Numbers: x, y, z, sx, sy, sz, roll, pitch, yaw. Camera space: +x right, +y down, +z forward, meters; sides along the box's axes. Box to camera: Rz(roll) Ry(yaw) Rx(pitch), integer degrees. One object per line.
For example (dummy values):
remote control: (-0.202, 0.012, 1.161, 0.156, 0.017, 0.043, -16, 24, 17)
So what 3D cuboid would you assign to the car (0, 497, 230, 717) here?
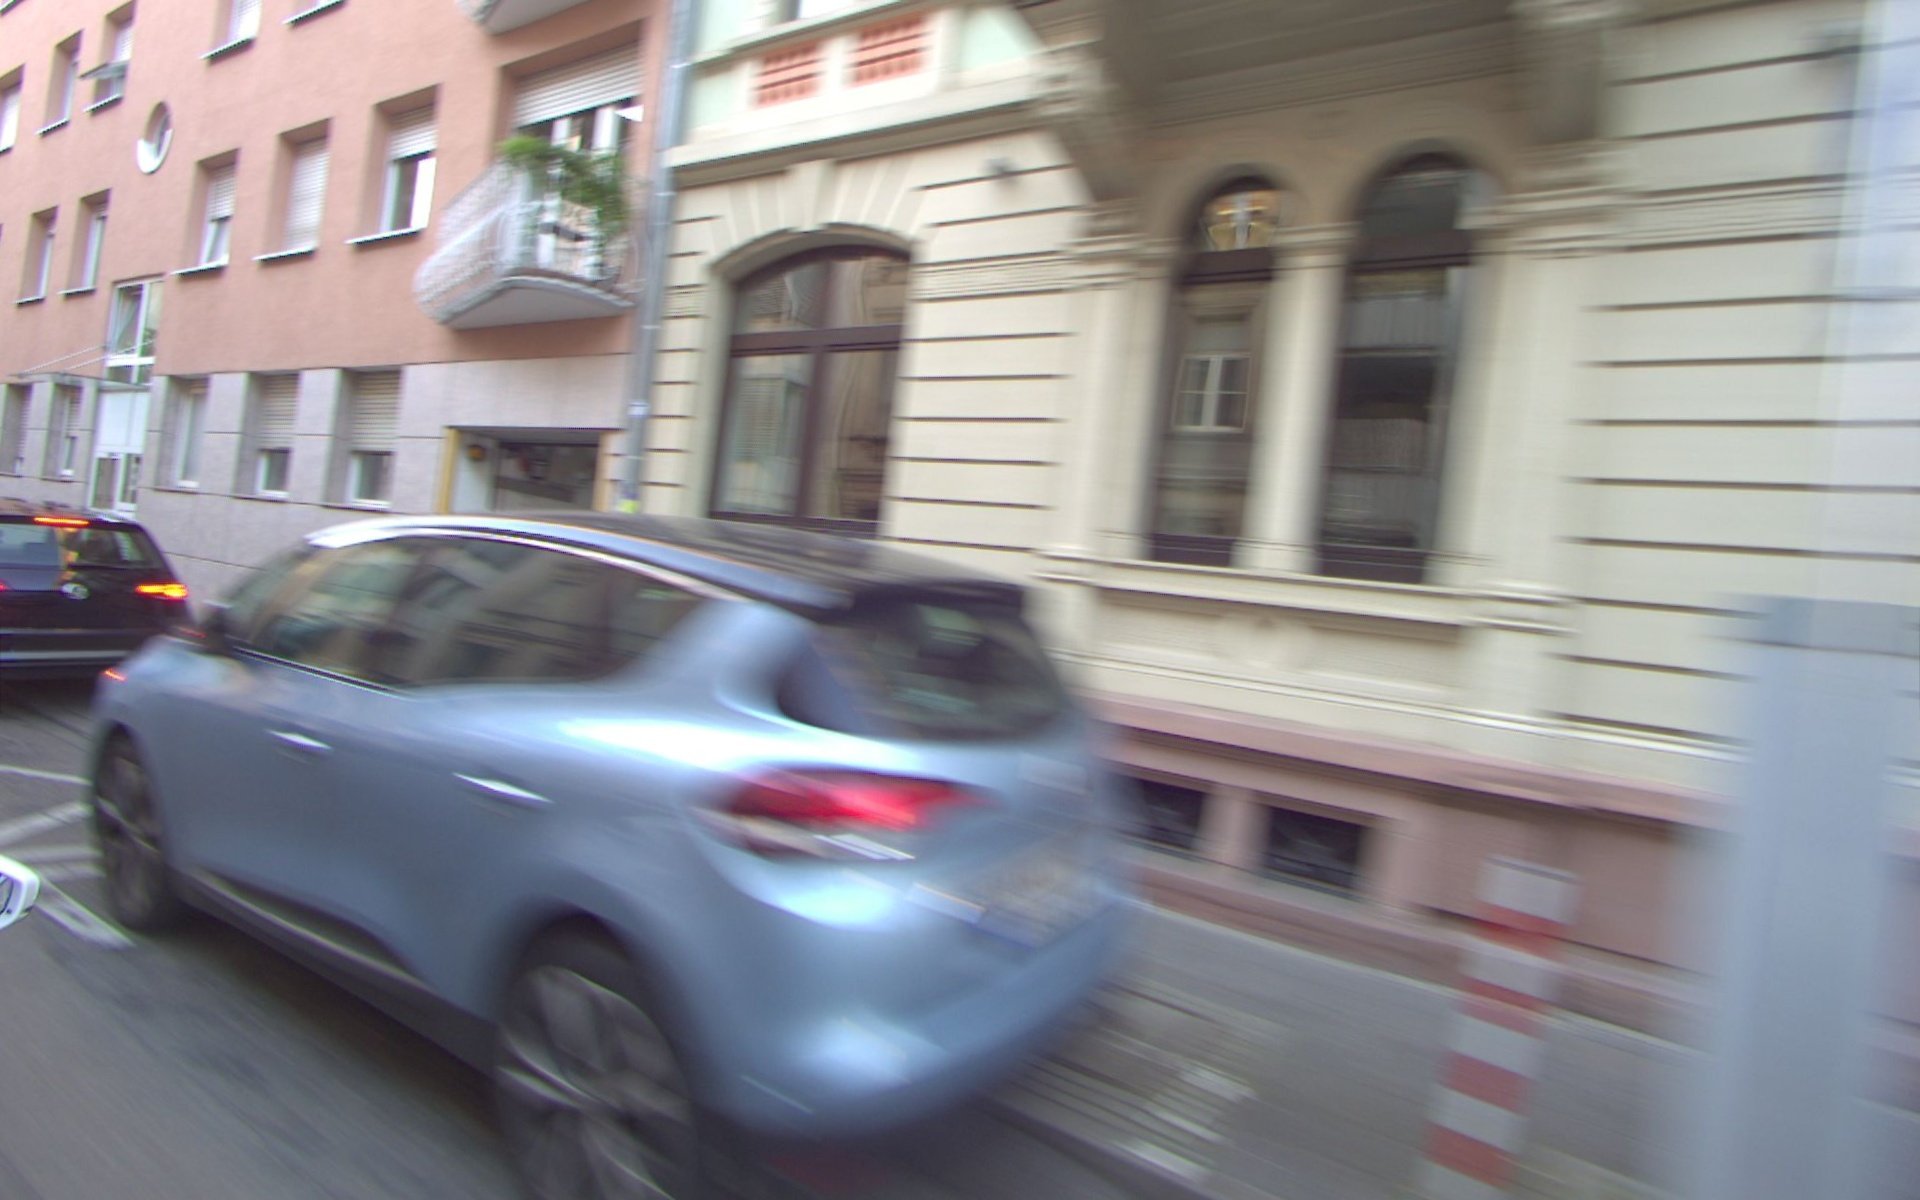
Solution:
car: (-7.927, -0.105, 8.224, 4.064, 1.475, 1.692, 7, -1, 32)

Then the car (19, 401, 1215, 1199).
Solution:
car: (-1.432, 0.404, 3.562, 4.042, 1.762, 1.692, 7, -1, 32)
